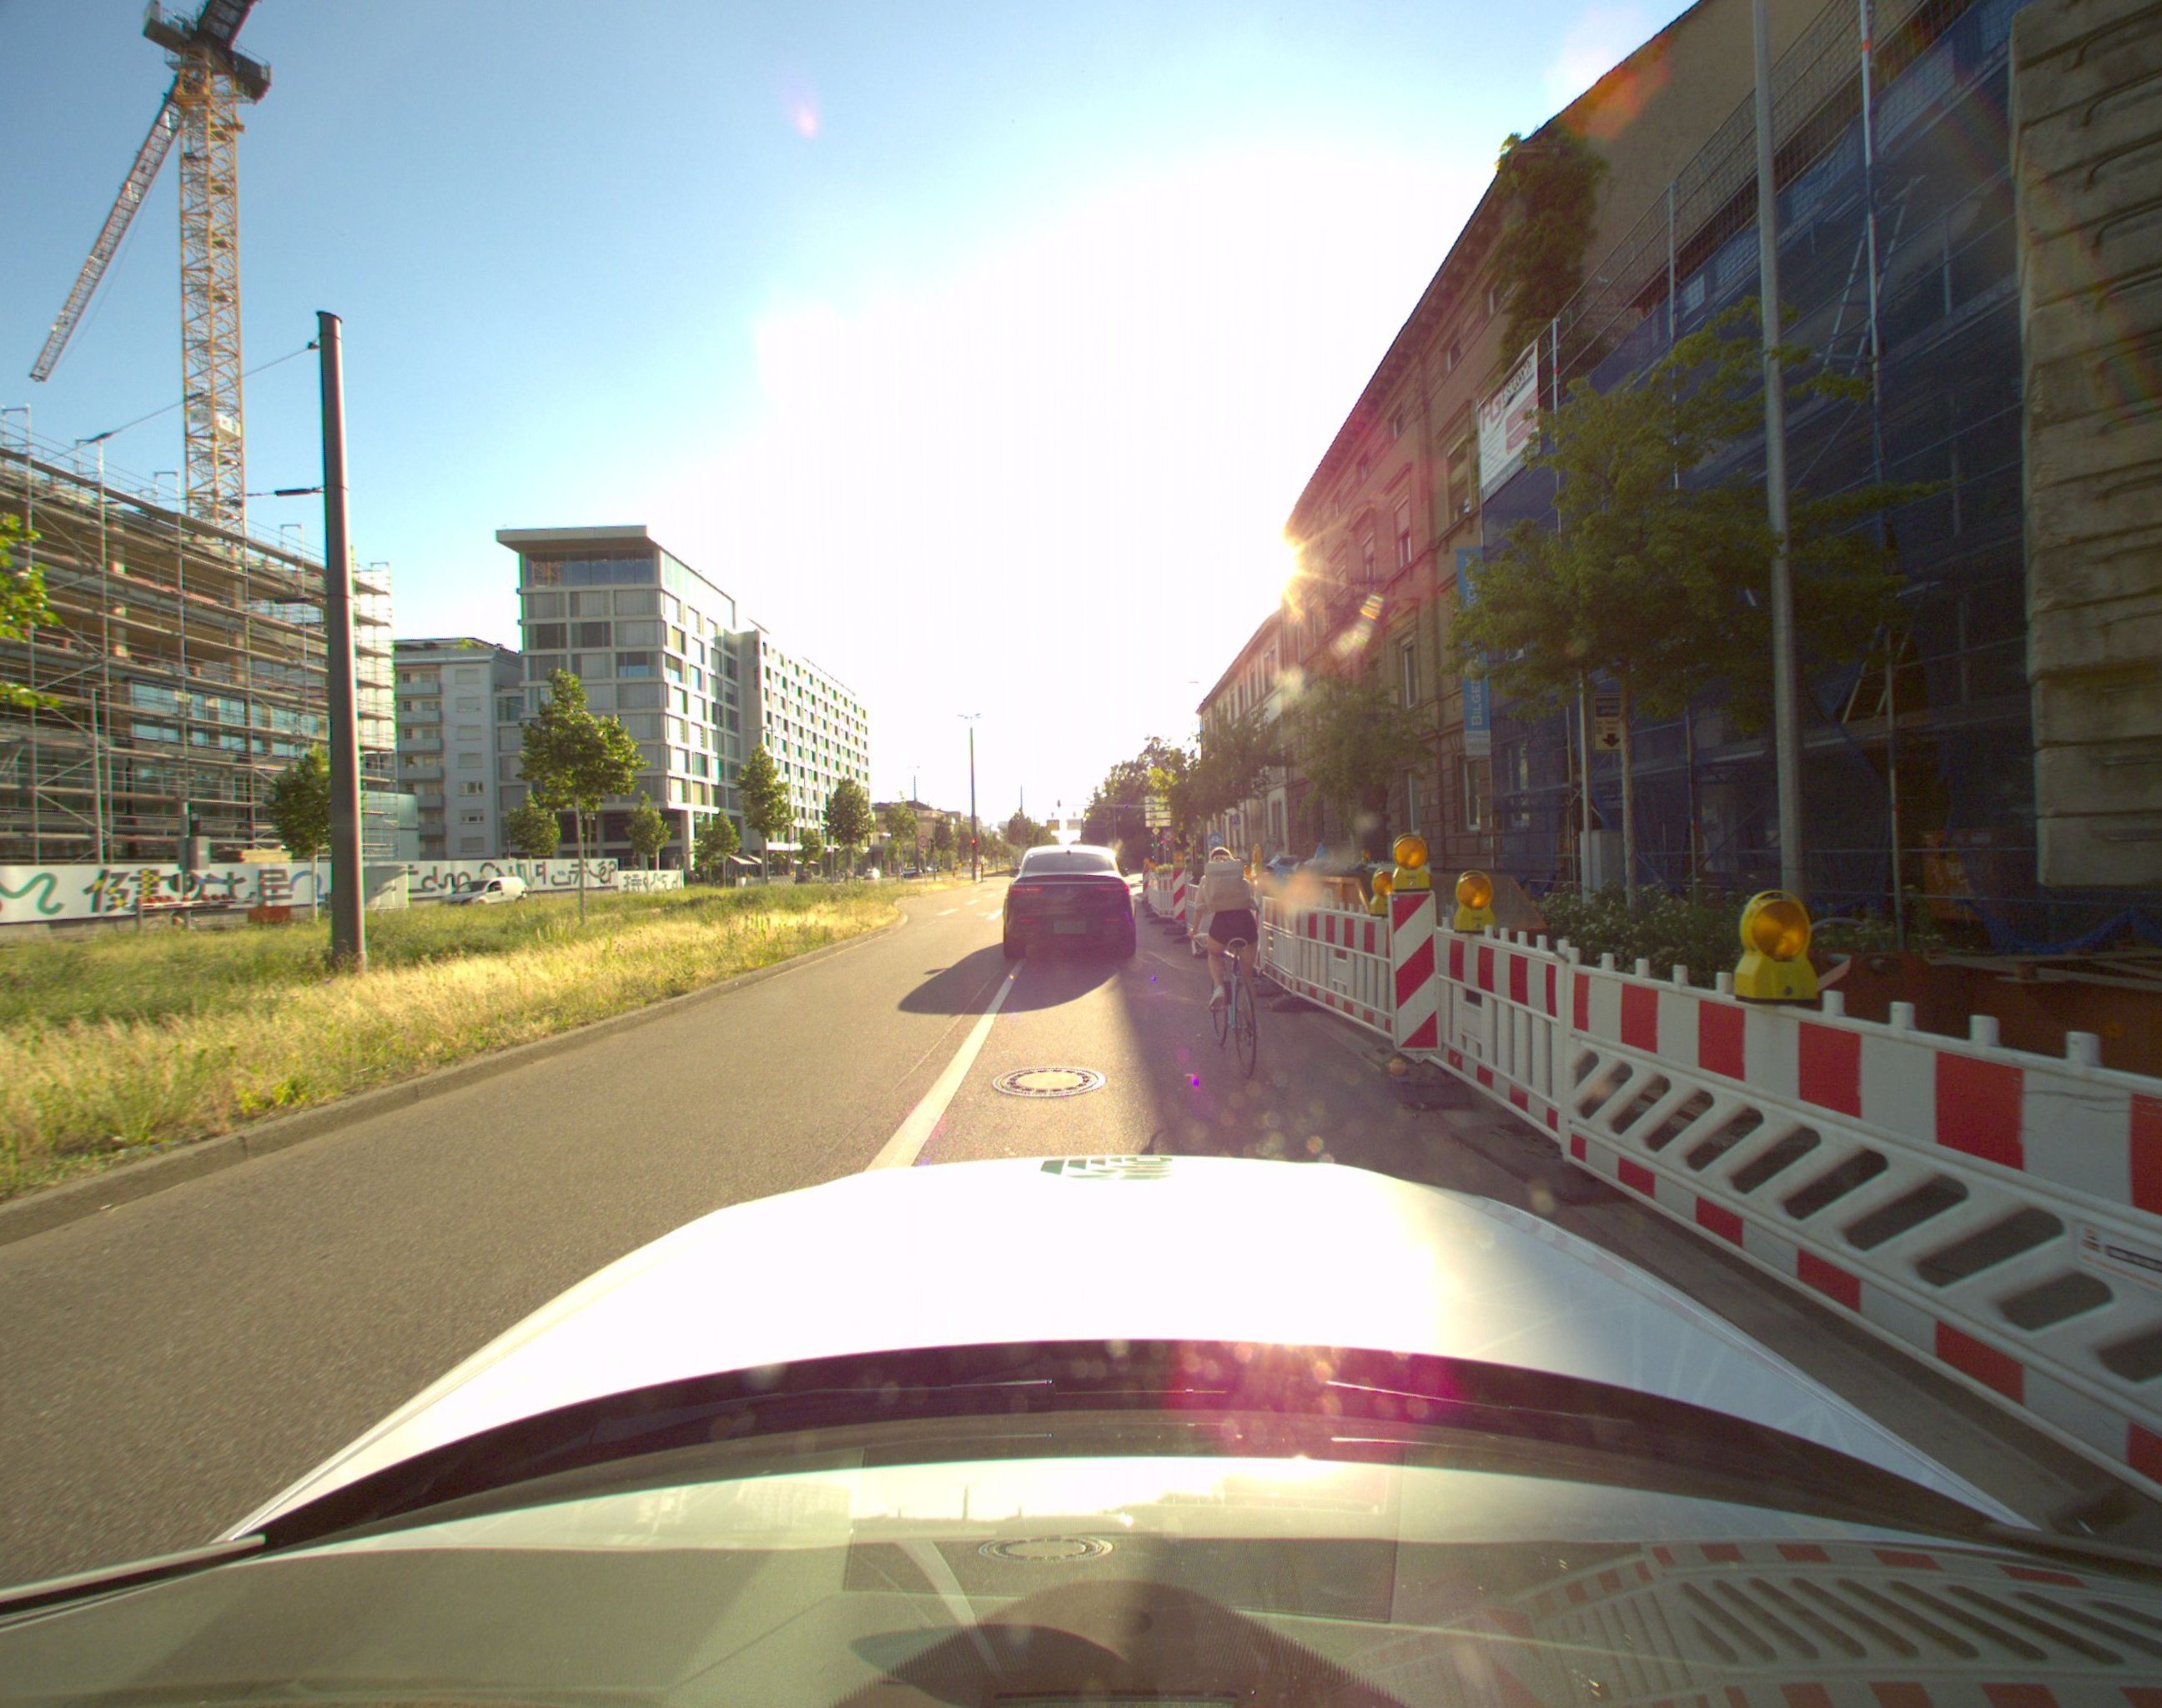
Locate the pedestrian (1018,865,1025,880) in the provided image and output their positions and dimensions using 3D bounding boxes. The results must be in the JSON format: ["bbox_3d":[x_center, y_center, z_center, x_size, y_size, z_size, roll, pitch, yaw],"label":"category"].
[{"bbox_3d":[-6.646,2.103,91.348,0.595,1.699,0.715,-2,-1,5],"label":"pedestrian"}]

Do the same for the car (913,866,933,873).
[{"bbox_3d":[-32.229,3.191,166.181,3.644,1.523,1.601,1,-1,-41],"label":"car"}]

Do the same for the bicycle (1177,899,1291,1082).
[{"bbox_3d":[1.126,0.957,6.333,0.519,1.097,1.842,-2,0,0],"label":"bicycle"}]

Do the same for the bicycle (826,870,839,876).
[{"bbox_3d":[-39.163,3.056,128.290,1.802,0.905,0.511,-2,-1,-7],"label":"bicycle"}]

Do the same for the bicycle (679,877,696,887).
[{"bbox_3d":[-40.013,2.848,82.859,0.616,0.936,2.215,-2,-1,-1],"label":"bicycle"}]

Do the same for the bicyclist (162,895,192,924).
[{"bbox_3d":[-37.362,2.286,33.667,0.476,1.154,0.639,-2,-1,3],"label":"bicyclist"}]

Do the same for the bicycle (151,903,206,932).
[{"bbox_3d":[-37.349,2.626,33.731,0.476,1.061,1.566,-2,0,4],"label":"bicycle"}]

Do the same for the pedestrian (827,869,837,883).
[{"bbox_3d":[-32.112,2.803,105.115,0.864,1.721,0.806,-2,-1,9],"label":"pedestrian"}]

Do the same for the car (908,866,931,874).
[{"bbox_3d":[-32.179,3.139,162.658,4.117,1.601,1.729,1,-1,-41],"label":"car"}]

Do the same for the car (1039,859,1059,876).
[{"bbox_3d":[-3.167,1.338,80.840,1.880,1.580,3.998,-1,0,-1],"label":"car"}]

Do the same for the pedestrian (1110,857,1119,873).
[{"bbox_3d":[3.729,1.226,90.681,0.766,1.636,0.767,-4,-1,-10],"label":"pedestrian"}]

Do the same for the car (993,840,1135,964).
[{"bbox_3d":[-0.127,0.678,13.512,1.985,1.734,4.004,-1,0,3],"label":"car"}]

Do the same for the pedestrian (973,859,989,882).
[{"bbox_3d":[-7.519,1.253,61.190,0.918,1.649,0.768,-2,-1,12],"label":"pedestrian"}]

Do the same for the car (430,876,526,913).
[{"bbox_3d":[-29.367,1.936,39.812,1.597,1.558,3.846,-2,0,4],"label":"car"}]

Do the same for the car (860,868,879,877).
[{"bbox_3d":[-32.005,2.832,123.368,1.751,1.328,4.000,0,0,0],"label":"car"}]

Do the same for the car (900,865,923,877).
[{"bbox_3d":[-21.209,2.139,102.301,1.885,1.343,4.848,-2,0,-1],"label":"car"}]

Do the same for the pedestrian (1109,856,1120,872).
[{"bbox_3d":[3.774,1.137,91.743,0.863,1.802,0.897,-3,-1,-35],"label":"pedestrian"}]

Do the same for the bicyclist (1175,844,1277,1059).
[{"bbox_3d":[1.080,0.684,6.268,0.550,1.491,1.081,-2,0,0],"label":"bicyclist"}]
